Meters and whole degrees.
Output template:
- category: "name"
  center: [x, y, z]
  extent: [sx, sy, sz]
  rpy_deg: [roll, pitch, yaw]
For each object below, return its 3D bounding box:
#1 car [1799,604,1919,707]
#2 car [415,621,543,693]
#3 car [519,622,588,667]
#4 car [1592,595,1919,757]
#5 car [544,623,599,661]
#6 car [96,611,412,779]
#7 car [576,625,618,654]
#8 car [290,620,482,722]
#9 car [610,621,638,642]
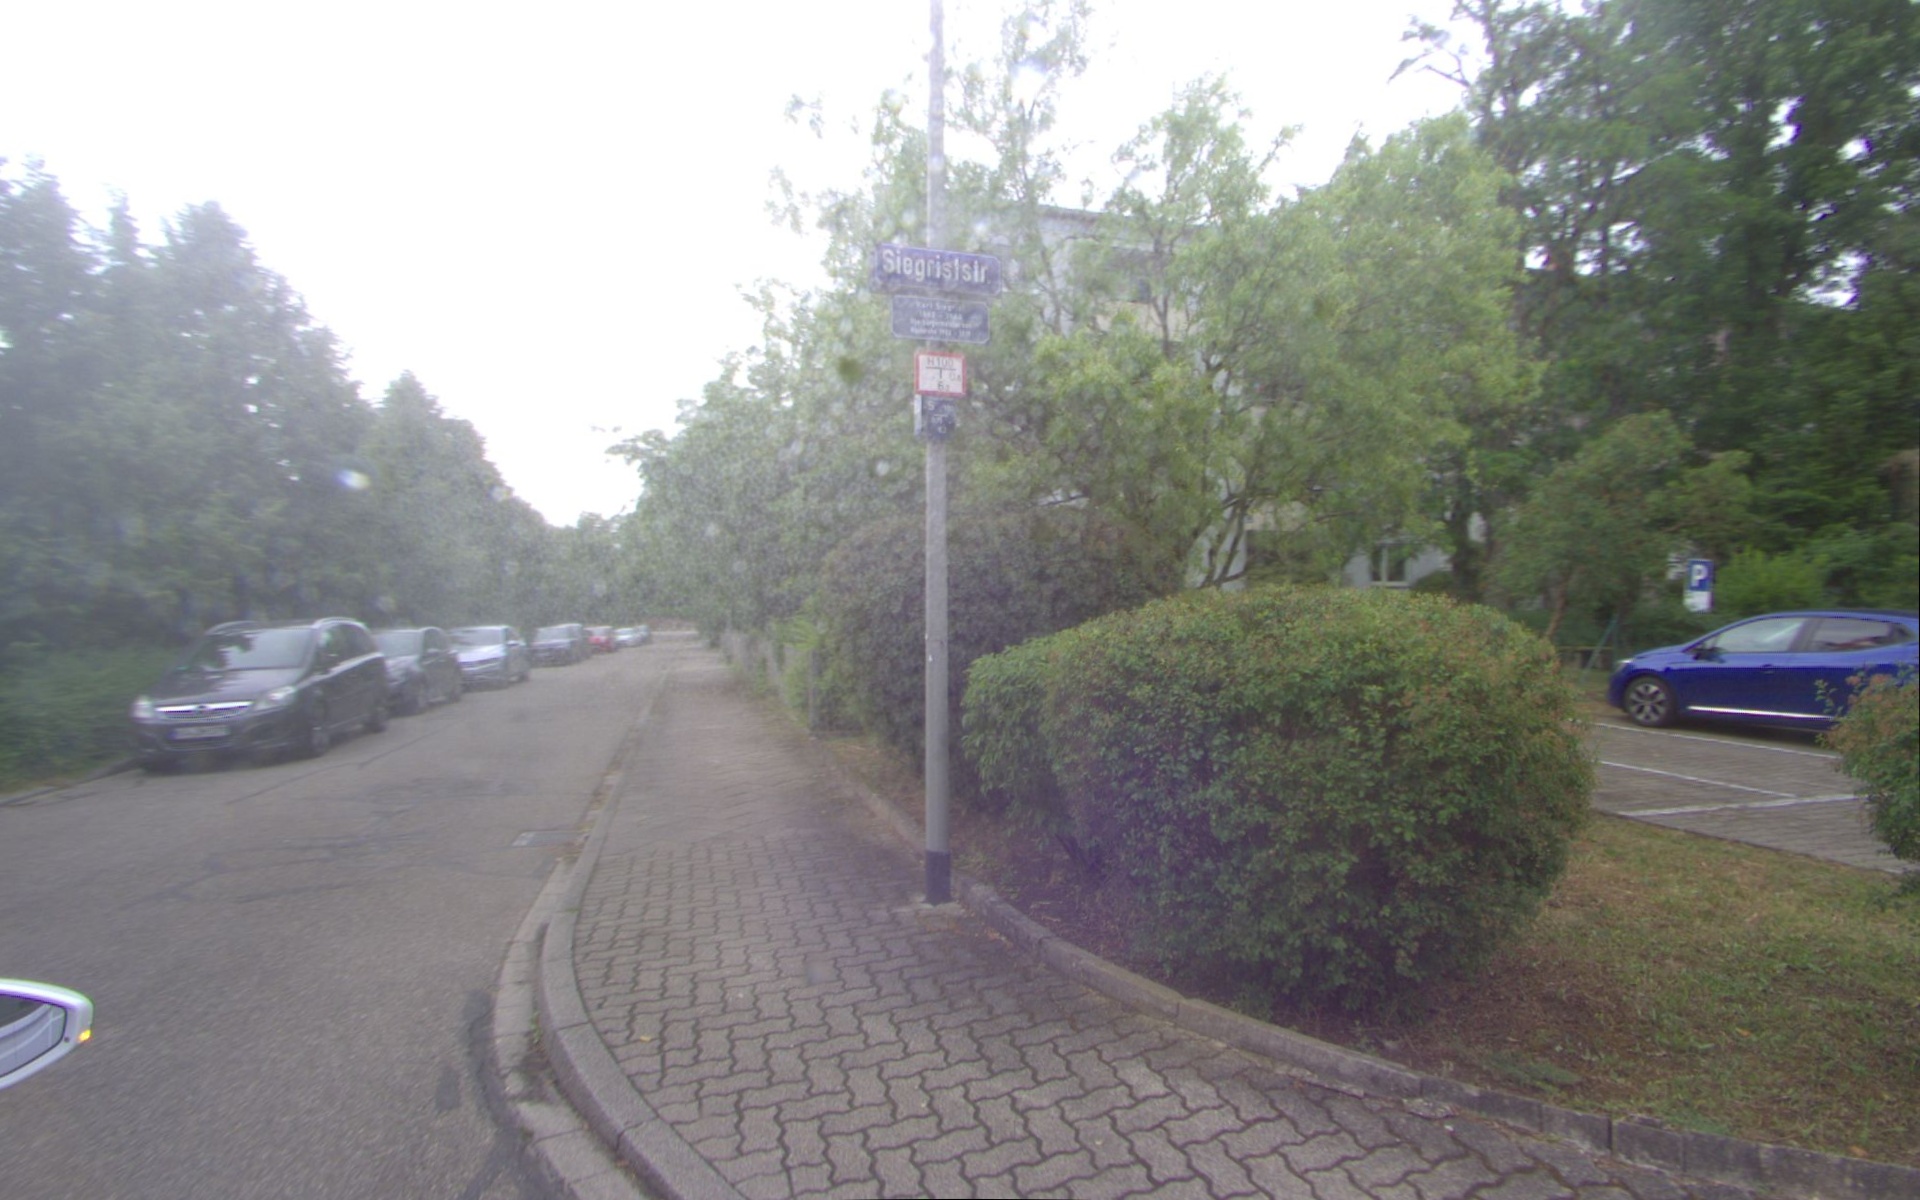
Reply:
- category: "car"
  center: [14.125, 0.751, 13.489]
  extent: [1.937, 1.399, 3.902]
  rpy_deg: [0, -1, -18]
- category: "car"
  center: [-11.282, 1.272, 23.808]
  extent: [1.749, 1.447, 4.473]
  rpy_deg: [-2, 0, -13]
- category: "car"
  center: [-14.803, 1.576, 36.648]
  extent: [1.725, 1.444, 3.995]
  rpy_deg: [-2, 0, -14]
- category: "car"
  center: [9.531, 0.740, 11.115]
  extent: [1.992, 1.530, 3.902]
  rpy_deg: [0, -1, -18]
- category: "car"
  center: [-16.760, 1.769, 43.343]
  extent: [1.725, 1.444, 3.995]
  rpy_deg: [-2, 0, -14]
- category: "car"
  center: [-8.441, 1.002, 12.514]
  extent: [1.731, 1.614, 4.546]
  rpy_deg: [-3, 0, -16]
- category: "car"
  center: [-19.731, 2.115, 54.539]
  extent: [1.725, 1.444, 3.995]
  rpy_deg: [-2, 0, -14]
- category: "car"
  center: [-10.026, 1.153, 17.877]
  extent: [1.730, 1.498, 4.301]
  rpy_deg: [-3, 0, -13]
- category: "car"
  center: [-25.518, 2.343, 76.231]
  extent: [1.725, 1.539, 3.995]
  rpy_deg: [0, -1, -14]
